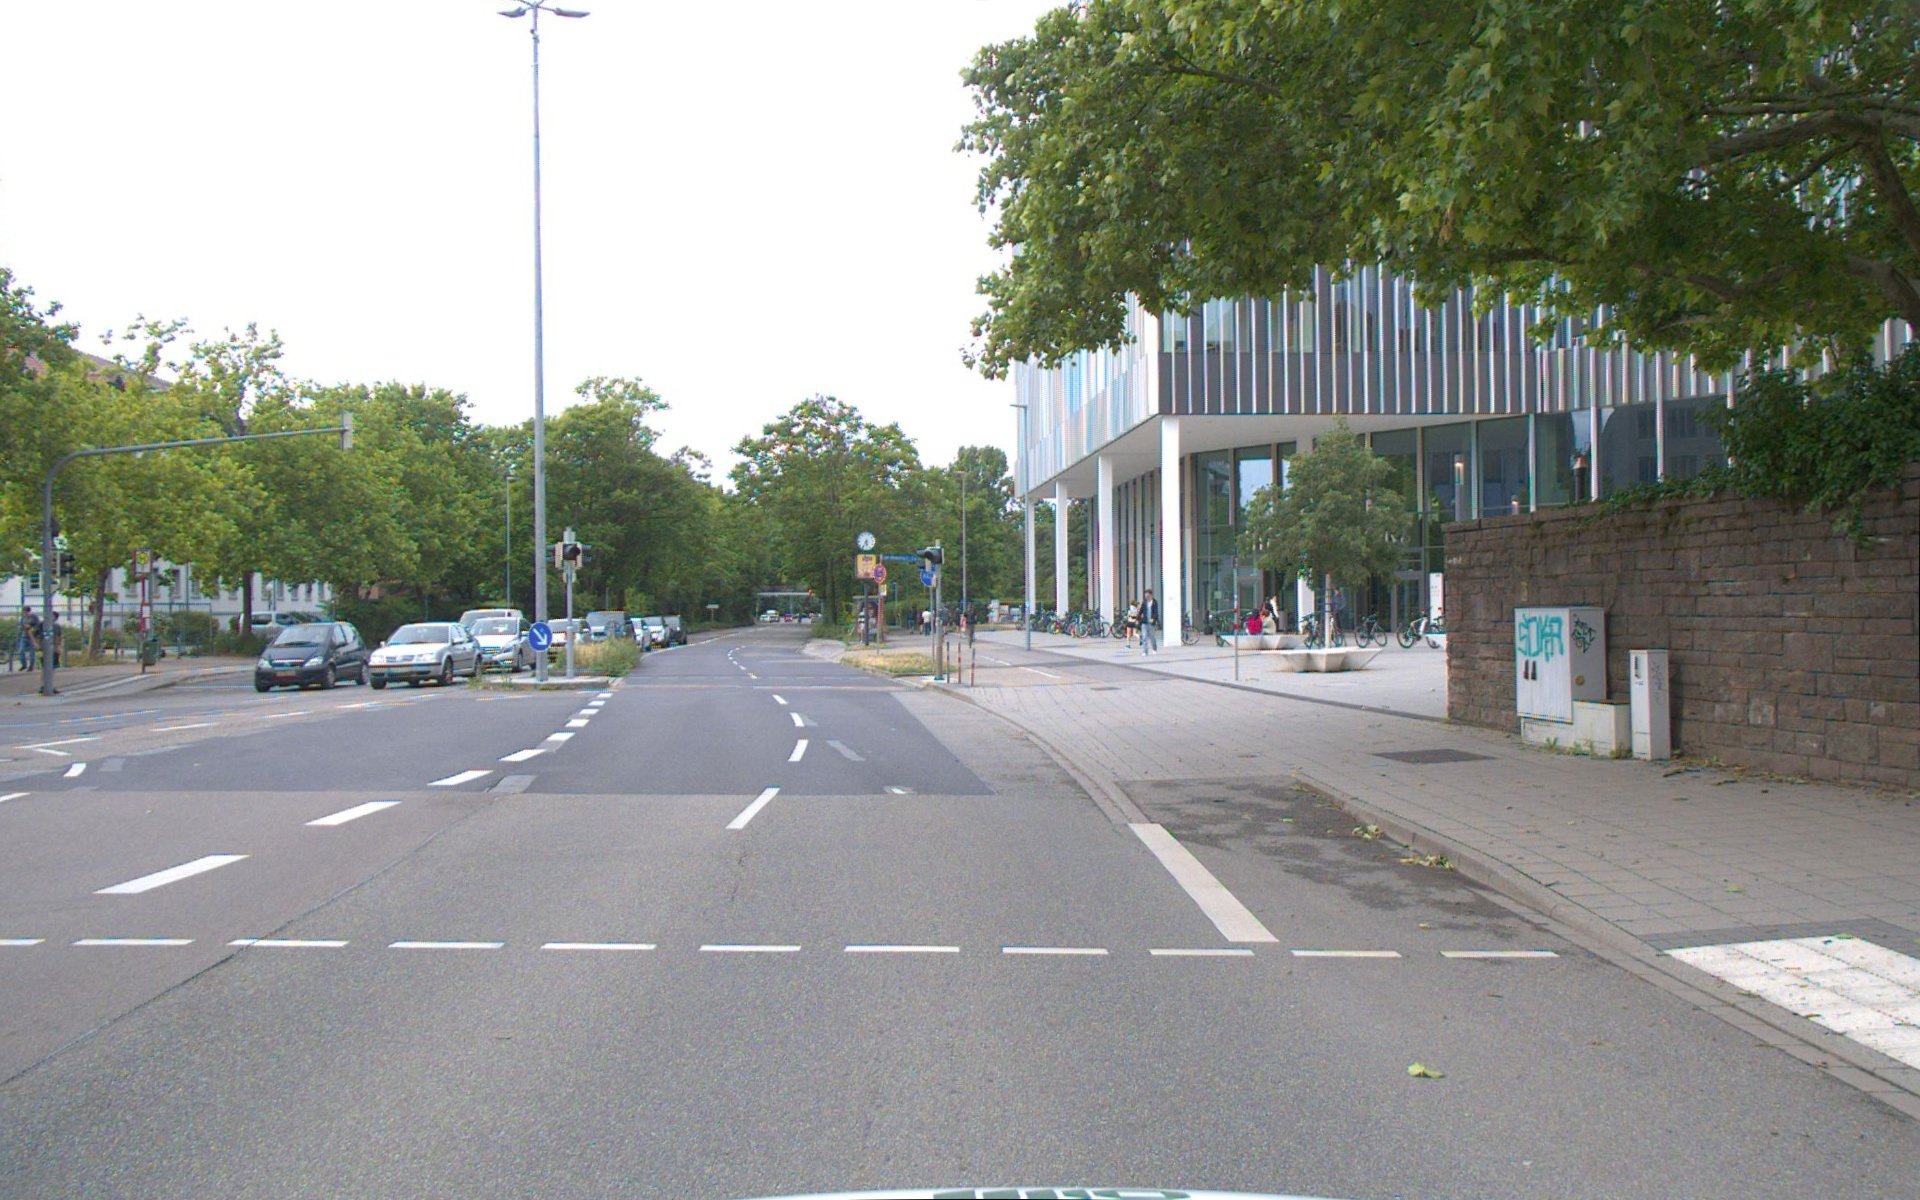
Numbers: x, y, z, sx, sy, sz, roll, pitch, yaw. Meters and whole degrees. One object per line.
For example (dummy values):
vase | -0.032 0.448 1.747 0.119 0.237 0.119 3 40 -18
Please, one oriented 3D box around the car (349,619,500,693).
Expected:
car | -12.279 1.243 38.237 1.952 1.556 4.275 -1 0 2

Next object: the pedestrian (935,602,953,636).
pedestrian | -0.989 1.188 103.180 0.908 2.049 1.037 -1 -1 -9

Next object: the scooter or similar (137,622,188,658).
scooter or similar | -28.929 1.453 59.982 1.544 1.265 0.566 -1 -1 -5

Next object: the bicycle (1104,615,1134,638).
bicycle | 6.757 1.126 70.273 1.477 0.945 0.433 -2 1 -44

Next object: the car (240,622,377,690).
car | -15.460 1.300 39.433 1.814 1.489 3.696 -1 0 -1

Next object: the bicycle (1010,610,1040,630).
bicycle | 4.017 1.232 102.220 1.760 1.100 0.625 -3 0 -7

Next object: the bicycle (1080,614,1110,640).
bicycle | 5.897 1.181 72.340 0.598 1.099 1.954 -3 0 -16

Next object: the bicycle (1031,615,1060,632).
bicycle | 4.999 1.371 96.536 1.575 0.890 0.556 -2 -1 -4

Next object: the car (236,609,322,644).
car | -33.432 1.296 81.241 3.517 1.630 1.649 1 -1 -7

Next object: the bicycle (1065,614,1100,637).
bicycle | 5.880 1.200 79.318 1.575 0.999 0.556 -4 0 -4

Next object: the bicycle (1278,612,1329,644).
bicycle | 11.438 0.926 55.015 0.761 1.019 1.947 -2 -1 43

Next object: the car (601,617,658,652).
car | -14.544 1.497 73.031 1.866 1.491 4.906 1 -1 -5

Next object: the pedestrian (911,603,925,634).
pedestrian | -2.855 1.242 112.402 0.808 2.049 0.719 -1 -1 -9

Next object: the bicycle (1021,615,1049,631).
bicycle | 4.494 1.370 98.705 1.575 0.890 0.556 -2 -1 -4

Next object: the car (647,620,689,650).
car | -16.325 1.948 92.621 1.866 1.621 4.512 -1 -1 -5

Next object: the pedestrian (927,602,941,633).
pedestrian | -1.772 1.182 112.487 0.808 2.049 0.719 -1 -1 -5

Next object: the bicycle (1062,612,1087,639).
bicycle | 5.192 1.147 75.092 0.624 1.160 2.196 -4 0 -9

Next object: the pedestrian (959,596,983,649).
pedestrian | 0.442 0.908 66.321 0.826 2.049 0.894 -3 -1 -3

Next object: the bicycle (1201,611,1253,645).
bicycle | 9.399 0.989 58.193 0.723 1.135 2.170 -2 -1 42

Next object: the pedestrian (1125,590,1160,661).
pedestrian | 5.316 0.745 48.241 0.826 2.049 0.894 -1 -1 -3

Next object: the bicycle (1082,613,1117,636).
bicycle | 6.576 1.160 77.890 1.572 0.952 0.569 -4 0 6

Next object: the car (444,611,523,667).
car | -16.812 1.331 58.588 1.736 1.880 4.485 1 -1 -4

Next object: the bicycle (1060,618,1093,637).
bicycle | 5.784 1.377 82.241 1.574 0.890 0.556 -1 -1 -4

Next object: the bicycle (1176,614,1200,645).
bicycle | 8.294 1.071 60.252 0.625 1.080 1.840 1 -1 0

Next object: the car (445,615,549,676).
car | -13.234 1.266 47.533 1.918 1.611 4.254 0 0 -2

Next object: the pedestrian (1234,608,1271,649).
pedestrian | 8.820 0.851 49.815 0.827 1.227 0.893 -1 -1 29

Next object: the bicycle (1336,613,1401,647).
bicycle | 13.069 0.949 52.884 2.166 1.023 0.772 -1 -1 -35

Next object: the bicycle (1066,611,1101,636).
bicycle | 6.033 1.150 80.920 1.610 1.110 0.572 -4 -1 4

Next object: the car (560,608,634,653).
car | -14.514 1.194 66.416 1.953 1.717 4.946 1 0 -1

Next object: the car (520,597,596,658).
car | -14.286 0.968 58.952 1.954 2.049 3.996 -1 -1 -5

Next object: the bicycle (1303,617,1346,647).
bicycle | 11.986 1.044 54.344 0.659 0.914 1.838 -2 0 36

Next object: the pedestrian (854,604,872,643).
pedestrian | -5.292 1.262 90.247 0.895 2.048 0.853 -3 1 -6

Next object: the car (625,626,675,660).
car | -15.394 2.127 82.387 1.955 1.574 4.175 -2 0 -5

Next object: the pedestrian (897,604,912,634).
pedestrian | -3.768 1.281 112.312 0.908 2.049 1.037 -1 -1 -9

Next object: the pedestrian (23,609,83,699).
pedestrian | -21.004 1.237 38.327 0.877 2.049 1.008 -1 -1 -7

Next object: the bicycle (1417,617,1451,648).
bicycle | 14.521 0.999 50.662 0.387 0.914 1.464 -2 -1 41

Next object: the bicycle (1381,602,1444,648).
bicycle | 14.123 0.757 51.627 1.978 1.328 0.640 -3 1 -27

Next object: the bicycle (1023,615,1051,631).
bicycle | 4.622 1.365 99.303 1.575 0.890 0.556 -2 -1 -4

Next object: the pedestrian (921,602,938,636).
pedestrian | -1.914 1.188 102.978 0.908 2.049 1.037 -1 -1 -9

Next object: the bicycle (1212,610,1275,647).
bicycle | 9.768 0.975 56.819 0.761 1.208 2.702 -2 -1 43

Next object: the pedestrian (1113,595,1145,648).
pedestrian | 5.995 0.766 58.695 0.828 1.868 0.891 -1 -1 -14

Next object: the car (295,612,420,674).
car | -17.047 1.182 46.989 1.952 1.648 4.001 -1 0 2

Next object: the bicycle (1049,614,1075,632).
bicycle | 5.289 1.178 85.604 1.258 0.890 0.556 -2 -1 -4

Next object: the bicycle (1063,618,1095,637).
bicycle | 6.068 1.406 84.573 1.574 0.912 0.366 -1 -1 -4

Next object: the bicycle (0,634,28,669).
bicycle | -33.691 1.786 56.930 2.695 1.195 0.720 -1 -1 -9

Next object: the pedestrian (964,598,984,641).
pedestrian | 0.671 0.920 78.151 0.826 2.049 0.893 -1 -1 -6

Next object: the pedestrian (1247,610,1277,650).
pedestrian | 9.213 0.911 50.447 0.872 1.214 0.846 -1 -1 9

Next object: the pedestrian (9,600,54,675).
pedestrian | -25.505 1.025 45.453 0.787 2.049 0.923 1 -1 -11

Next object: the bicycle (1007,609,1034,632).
bicycle | 3.810 1.266 103.985 1.612 1.356 0.463 -3 -1 8

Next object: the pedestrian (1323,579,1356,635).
pedestrian | 14.493 0.266 63.203 1.156 2.098 1.136 1 -1 11
